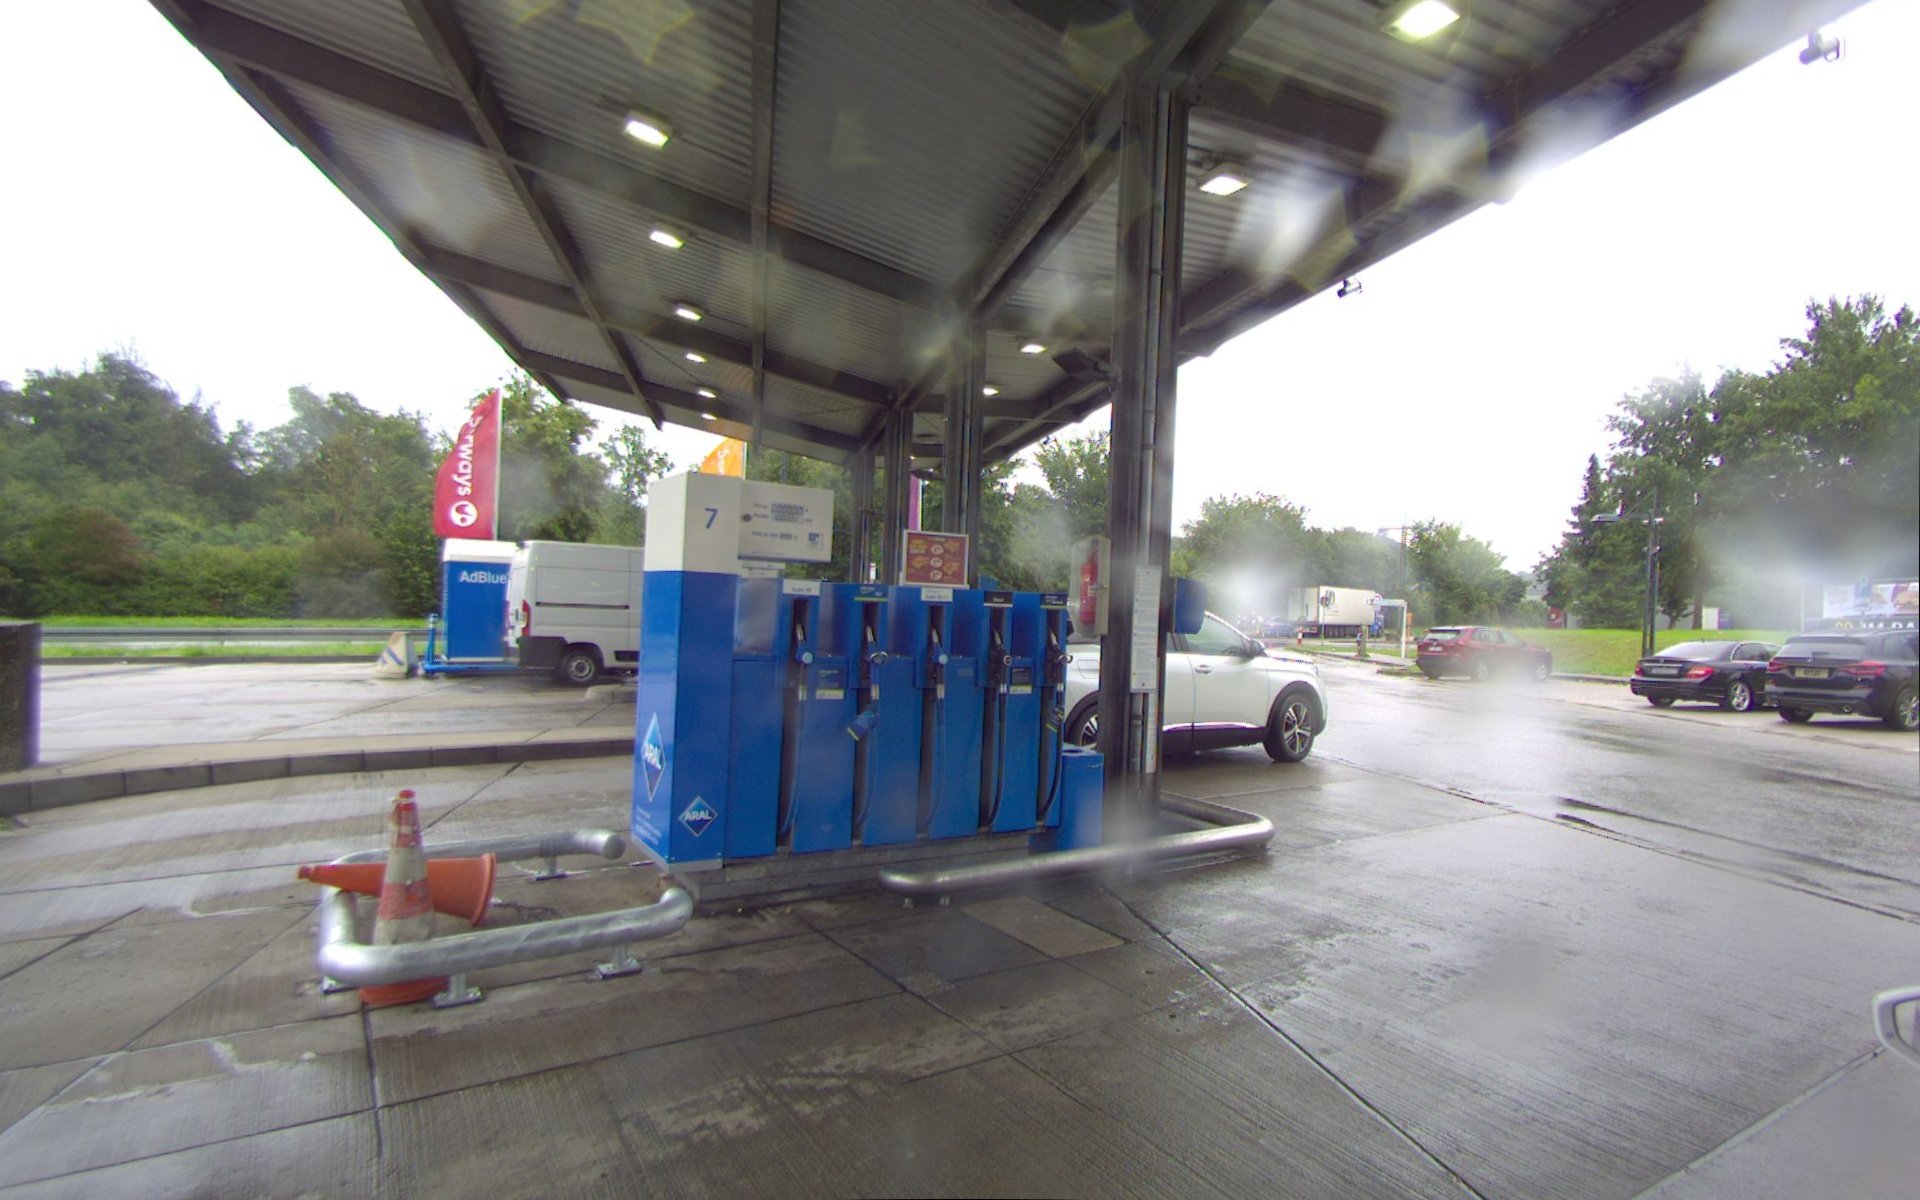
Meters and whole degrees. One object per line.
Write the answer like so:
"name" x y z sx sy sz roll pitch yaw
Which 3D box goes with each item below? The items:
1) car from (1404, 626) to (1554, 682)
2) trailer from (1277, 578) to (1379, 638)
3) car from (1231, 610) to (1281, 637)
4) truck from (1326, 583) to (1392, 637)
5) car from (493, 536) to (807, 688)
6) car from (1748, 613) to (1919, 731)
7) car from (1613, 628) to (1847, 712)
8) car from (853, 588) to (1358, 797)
"car" 16.012 1.641 30.980 4.294 1.617 1.879 1 -1 -24
"trailer" 30.927 0.740 83.864 3.416 4.618 13.847 2 0 40
"car" 20.931 1.642 70.854 1.903 1.862 4.373 1 0 38
"truck" 35.600 0.910 89.468 3.416 4.618 6.704 2 0 40
"car" -5.781 0.263 18.994 5.227 2.496 2.306 1 -1 -34
"car" 16.161 1.187 17.414 4.344 1.852 1.883 1 -1 -19
"car" 15.948 1.415 20.833 4.119 1.585 1.883 1 -1 -19
"car" 1.583 0.748 9.782 4.953 1.586 1.802 1 0 -35
